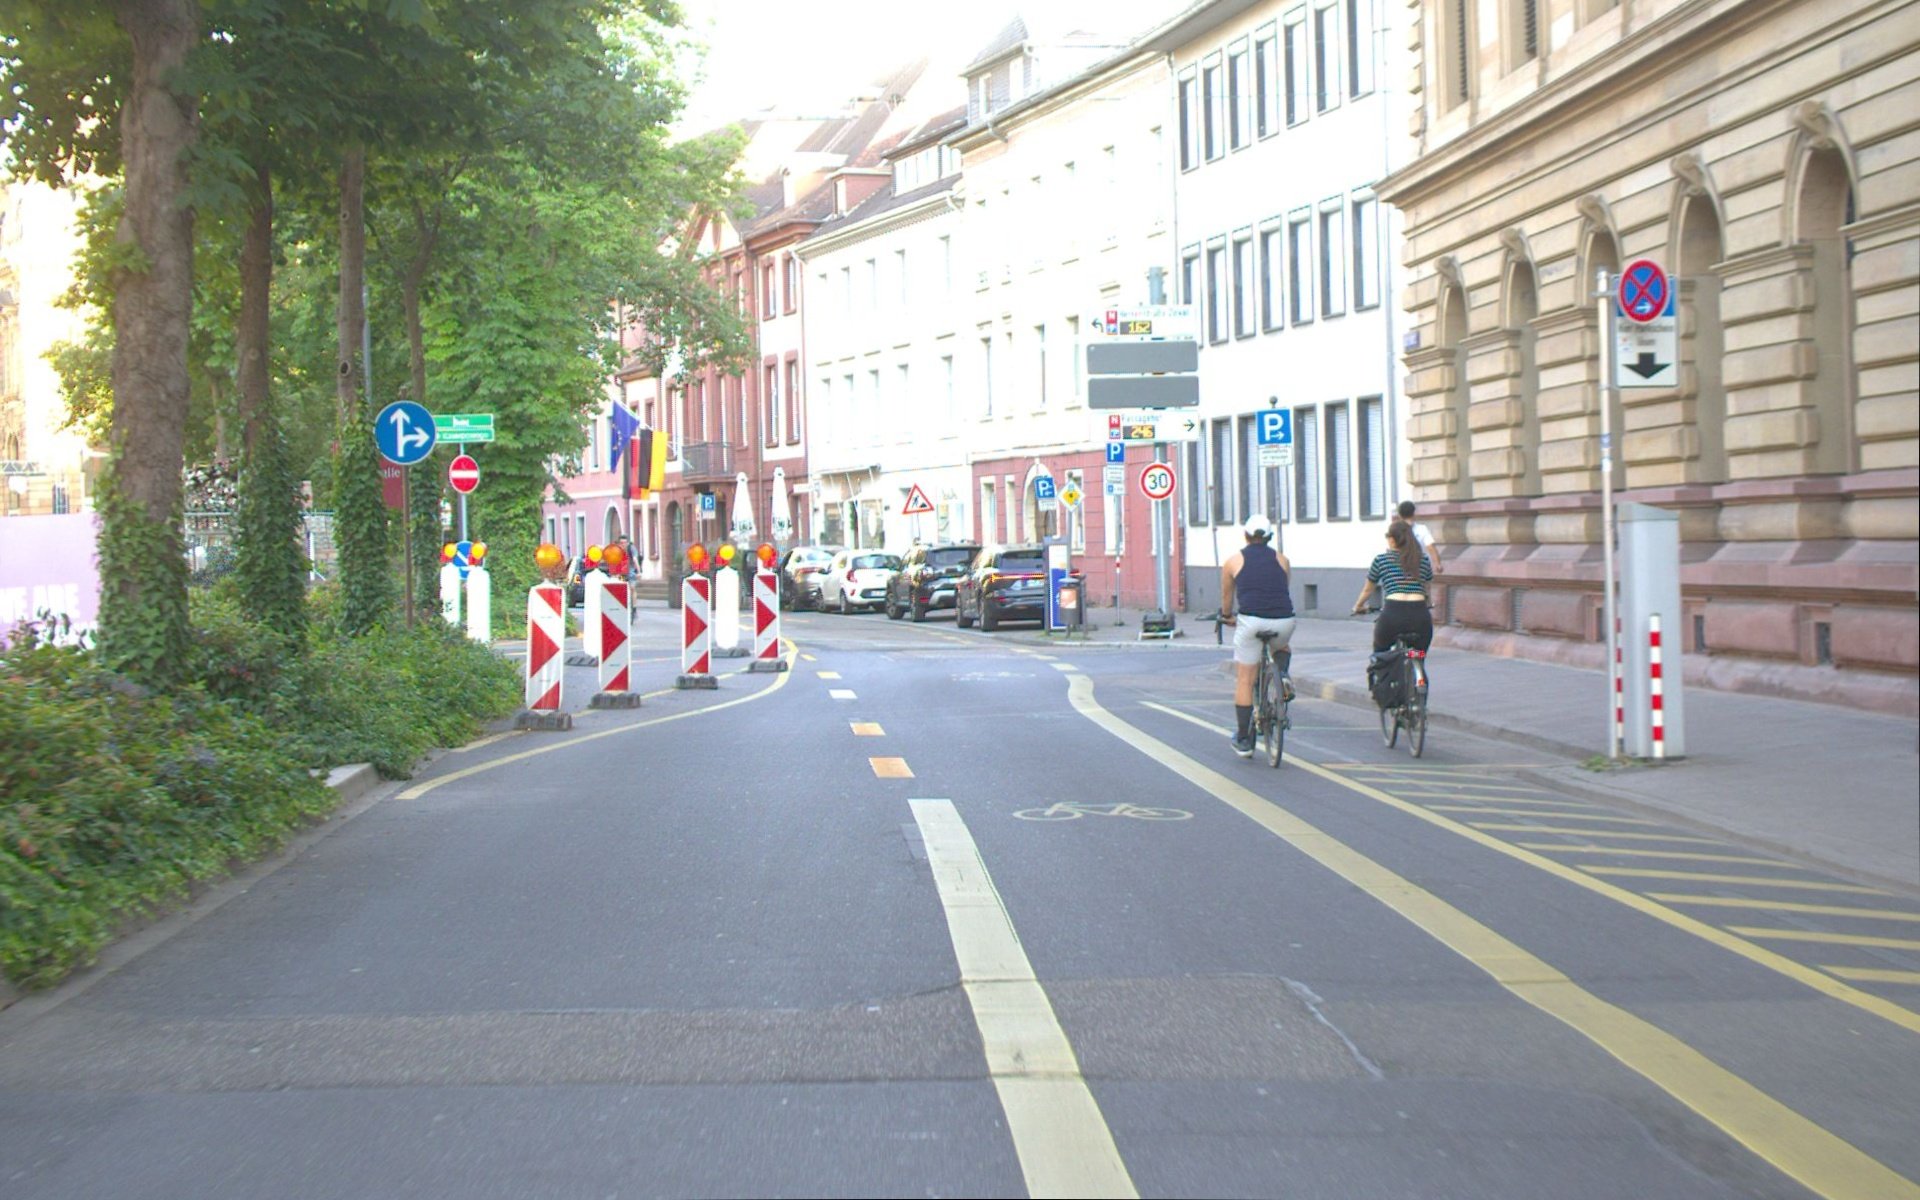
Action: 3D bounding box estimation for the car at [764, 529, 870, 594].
[{"bbox_3d":[-3.571,-0.968,85.257,1.812,1.554,3.866,-1,1,-15],"label":"car"}]

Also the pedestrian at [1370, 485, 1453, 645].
[{"bbox_3d":[5.023,-0.398,38.317,0.817,1.759,1.038,0,1,2],"label":"pedestrian"}]

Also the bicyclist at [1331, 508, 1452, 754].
[{"bbox_3d":[3.128,0.214,24.986,0.649,1.754,0.864,1,1,-7],"label":"bicyclist"}]

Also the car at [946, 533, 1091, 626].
[{"bbox_3d":[1.073,-0.405,65.004,1.812,1.676,3.920,-1,1,-13],"label":"car"}]

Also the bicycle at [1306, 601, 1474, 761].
[{"bbox_3d":[3.109,0.563,25.042,0.652,1.067,2.258,1,1,-7],"label":"bicycle"}]

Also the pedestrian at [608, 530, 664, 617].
[{"bbox_3d":[-6.259,-0.517,66.493,0.736,1.668,0.894,-1,1,20],"label":"pedestrian"}]

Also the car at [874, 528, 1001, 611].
[{"bbox_3d":[-0.502,-0.662,72.750,1.812,1.678,4.001,-1,1,-13],"label":"car"}]

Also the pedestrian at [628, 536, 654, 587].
[{"bbox_3d":[-11.041,-1.329,118.953,0.750,1.756,0.586,-1,1,-16],"label":"pedestrian"}]

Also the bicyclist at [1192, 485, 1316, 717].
[{"bbox_3d":[2.010,0.005,23.581,0.668,1.560,0.699,1,1,-9],"label":"bicyclist"}]

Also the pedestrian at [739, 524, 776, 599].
[{"bbox_3d":[-5.002,-0.968,85.122,0.831,1.838,0.958,0,1,2],"label":"pedestrian"}]

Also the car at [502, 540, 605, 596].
[{"bbox_3d":[-11.755,-0.929,99.279,1.812,1.554,3.866,-1,1,-25],"label":"car"}]

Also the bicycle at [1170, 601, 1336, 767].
[{"bbox_3d":[1.996,0.554,23.657,0.669,1.067,1.902,0,1,-10],"label":"bicycle"}]

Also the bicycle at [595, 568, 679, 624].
[{"bbox_3d":[-6.248,-0.090,66.552,0.761,1.034,2.118,-1,1,21],"label":"bicycle"}]

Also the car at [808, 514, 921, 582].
[{"bbox_3d":[-2.270,-1.223,80.906,1.812,1.554,3.866,-1,1,-15],"label":"car"}]
